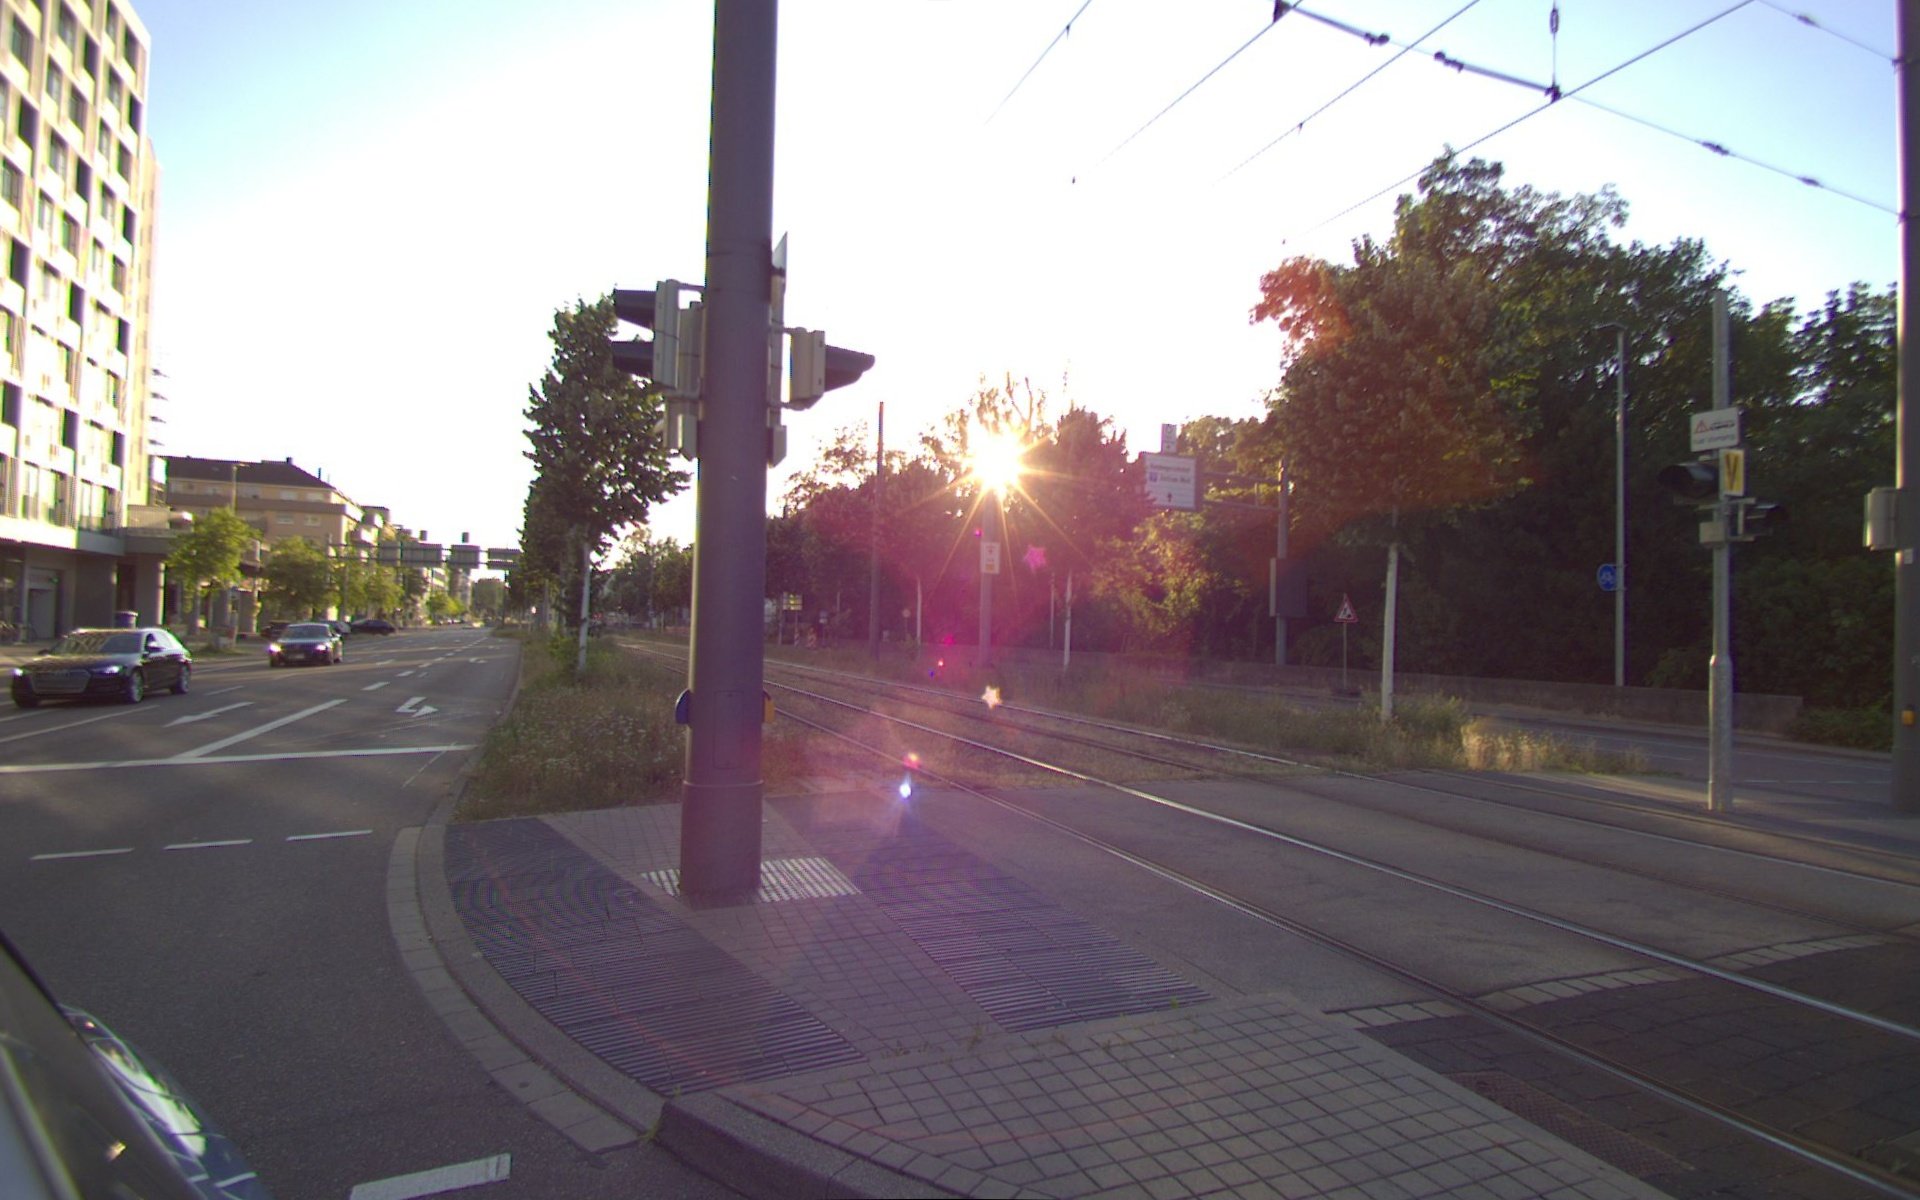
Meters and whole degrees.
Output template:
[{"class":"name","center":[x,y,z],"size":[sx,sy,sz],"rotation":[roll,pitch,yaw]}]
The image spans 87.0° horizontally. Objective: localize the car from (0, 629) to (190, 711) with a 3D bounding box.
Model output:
[{"class":"car","center":[-16.960,1.298,19.953],"size":[1.883,1.406,4.290],"rotation":[0,-2,-24]}]

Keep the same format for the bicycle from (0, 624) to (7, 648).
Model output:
[{"class":"bicycle","center":[-40.127,1.419,41.073],"size":[1.987,0.965,0.622],"rotation":[4,-3,-30]}]

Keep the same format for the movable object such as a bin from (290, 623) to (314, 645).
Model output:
[{"class":"movable object such as a bin","center":[-40.463,2.079,62.250],"size":[1.069,1.311,1.365],"rotation":[5,-4,-30]}]

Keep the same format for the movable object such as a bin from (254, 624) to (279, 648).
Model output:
[{"class":"movable object such as a bin","center":[-42.095,2.182,61.455],"size":[0.999,1.357,1.164],"rotation":[5,-4,-28]}]

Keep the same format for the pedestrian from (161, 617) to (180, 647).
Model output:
[{"class":"pedestrian","center":[-43.160,1.753,55.341],"size":[0.568,1.631,0.645],"rotation":[4,-4,-27]}]

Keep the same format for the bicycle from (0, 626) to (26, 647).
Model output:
[{"class":"bicycle","center":[-40.519,1.533,42.790],"size":[1.401,0.898,0.458],"rotation":[3,-3,-24]}]

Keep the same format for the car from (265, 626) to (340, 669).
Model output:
[{"class":"car","center":[-23.207,1.636,35.850],"size":[1.832,1.406,4.290],"rotation":[0,-2,-28]}]

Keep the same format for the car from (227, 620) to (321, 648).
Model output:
[{"class":"car","center":[-44.556,2.226,65.836],"size":[1.930,1.520,4.627],"rotation":[2,-3,26]}]

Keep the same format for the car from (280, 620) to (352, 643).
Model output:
[{"class":"car","center":[-46.064,2.275,72.458],"size":[1.743,1.427,3.953],"rotation":[2,-3,28]}]

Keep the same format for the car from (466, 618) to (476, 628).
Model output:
[{"class":"car","center":[-93.545,4.361,193.560],"size":[1.698,1.935,4.308],"rotation":[0,-2,-28]}]
